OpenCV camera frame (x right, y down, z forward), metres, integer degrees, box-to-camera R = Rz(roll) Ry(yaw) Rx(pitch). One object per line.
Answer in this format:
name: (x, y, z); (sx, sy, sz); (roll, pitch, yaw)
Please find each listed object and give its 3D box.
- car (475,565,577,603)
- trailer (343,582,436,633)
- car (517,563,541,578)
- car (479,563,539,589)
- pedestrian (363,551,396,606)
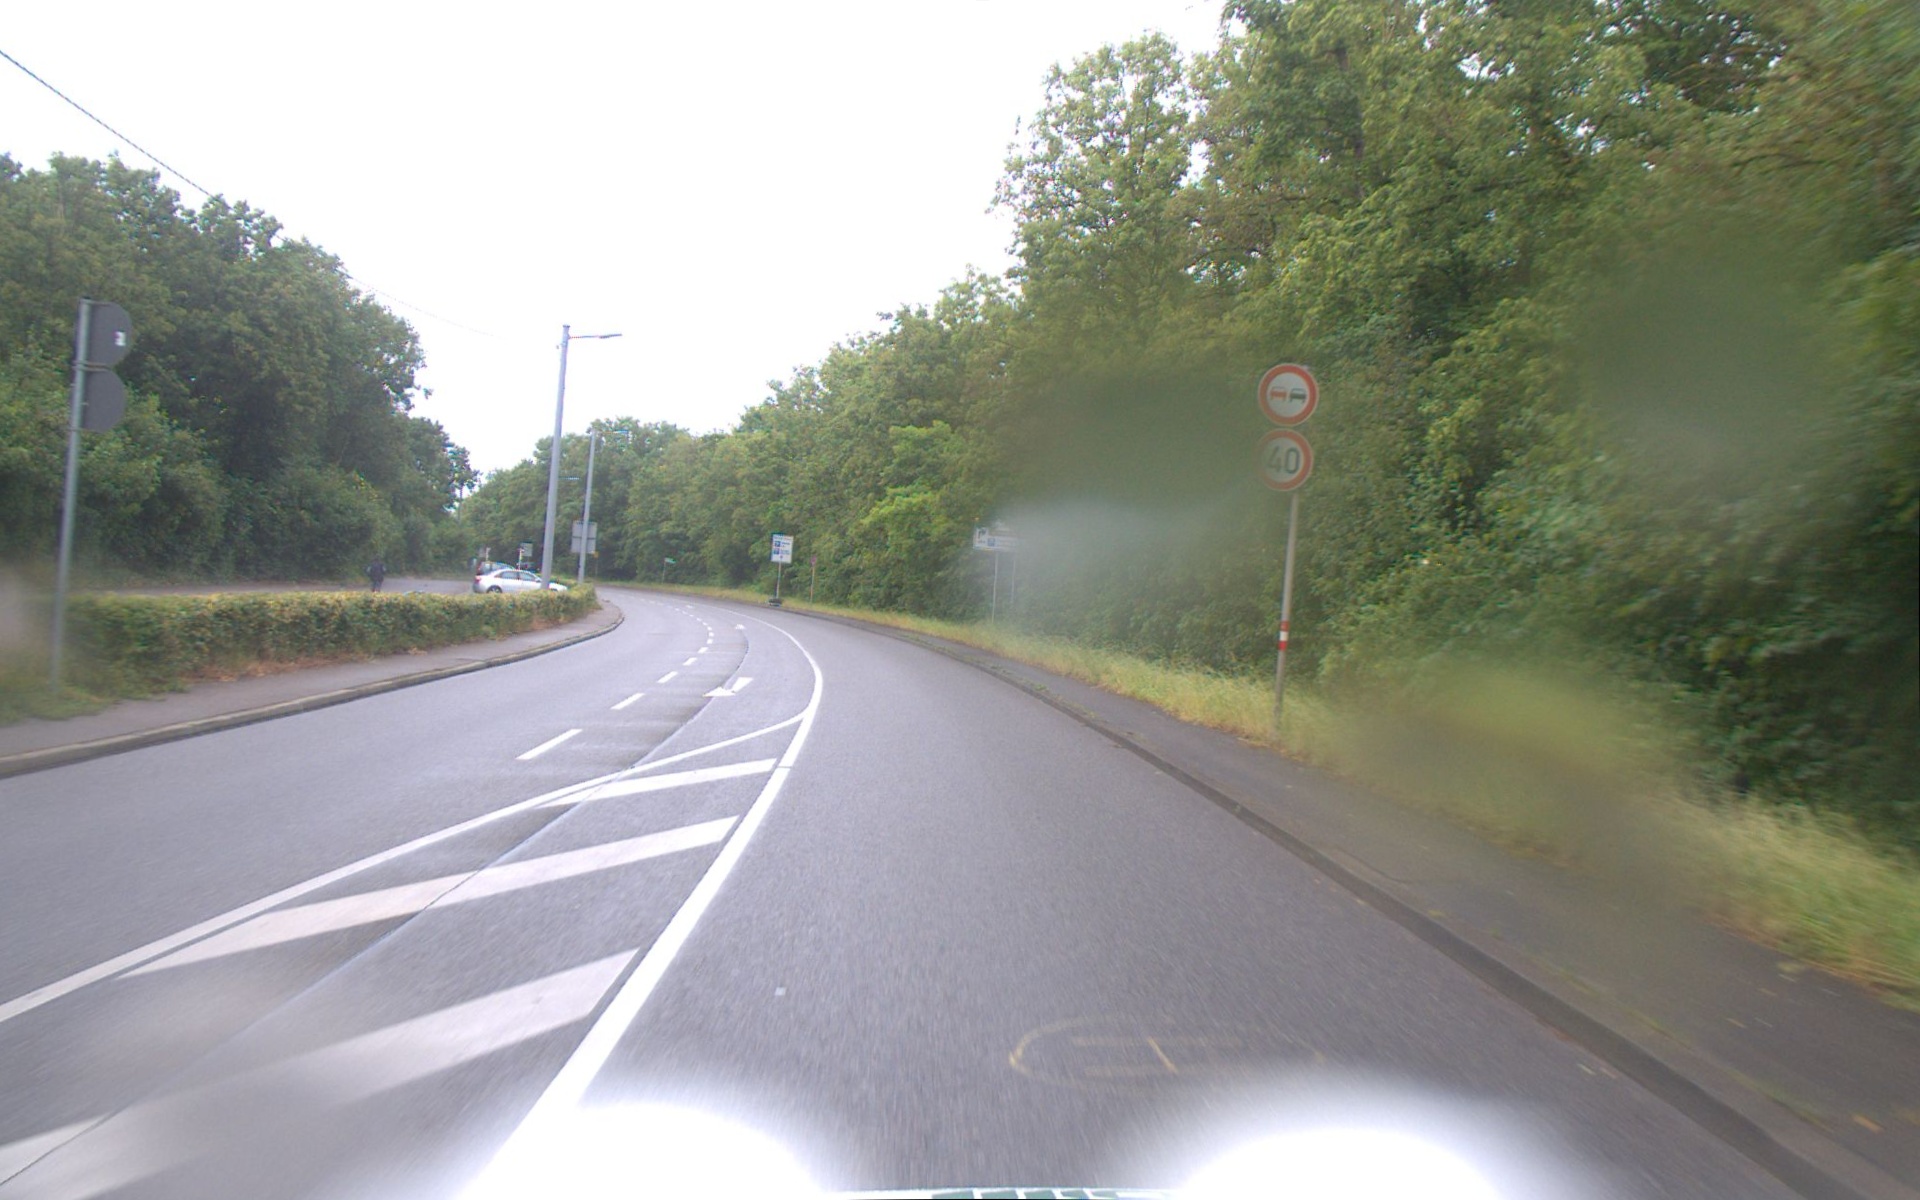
car: (-20.557, -0.747, 78.254); (4.506, 1.532, 1.989); (3, 0, -19)
trailer: (-12.901, 0.158, 37.484); (1.768, 1.052, 1.331); (3, 0, -10)
car: (-47.188, -3.276, 181.005); (1.910, 1.524, 4.286); (2, 1, -24)
car: (-33.411, -1.777, 122.583); (4.221, 1.738, 1.992); (3, 0, -16)
pedestrian: (-19.681, -0.735, 56.136); (0.802, 1.829, 1.133); (2, 0, -10)
